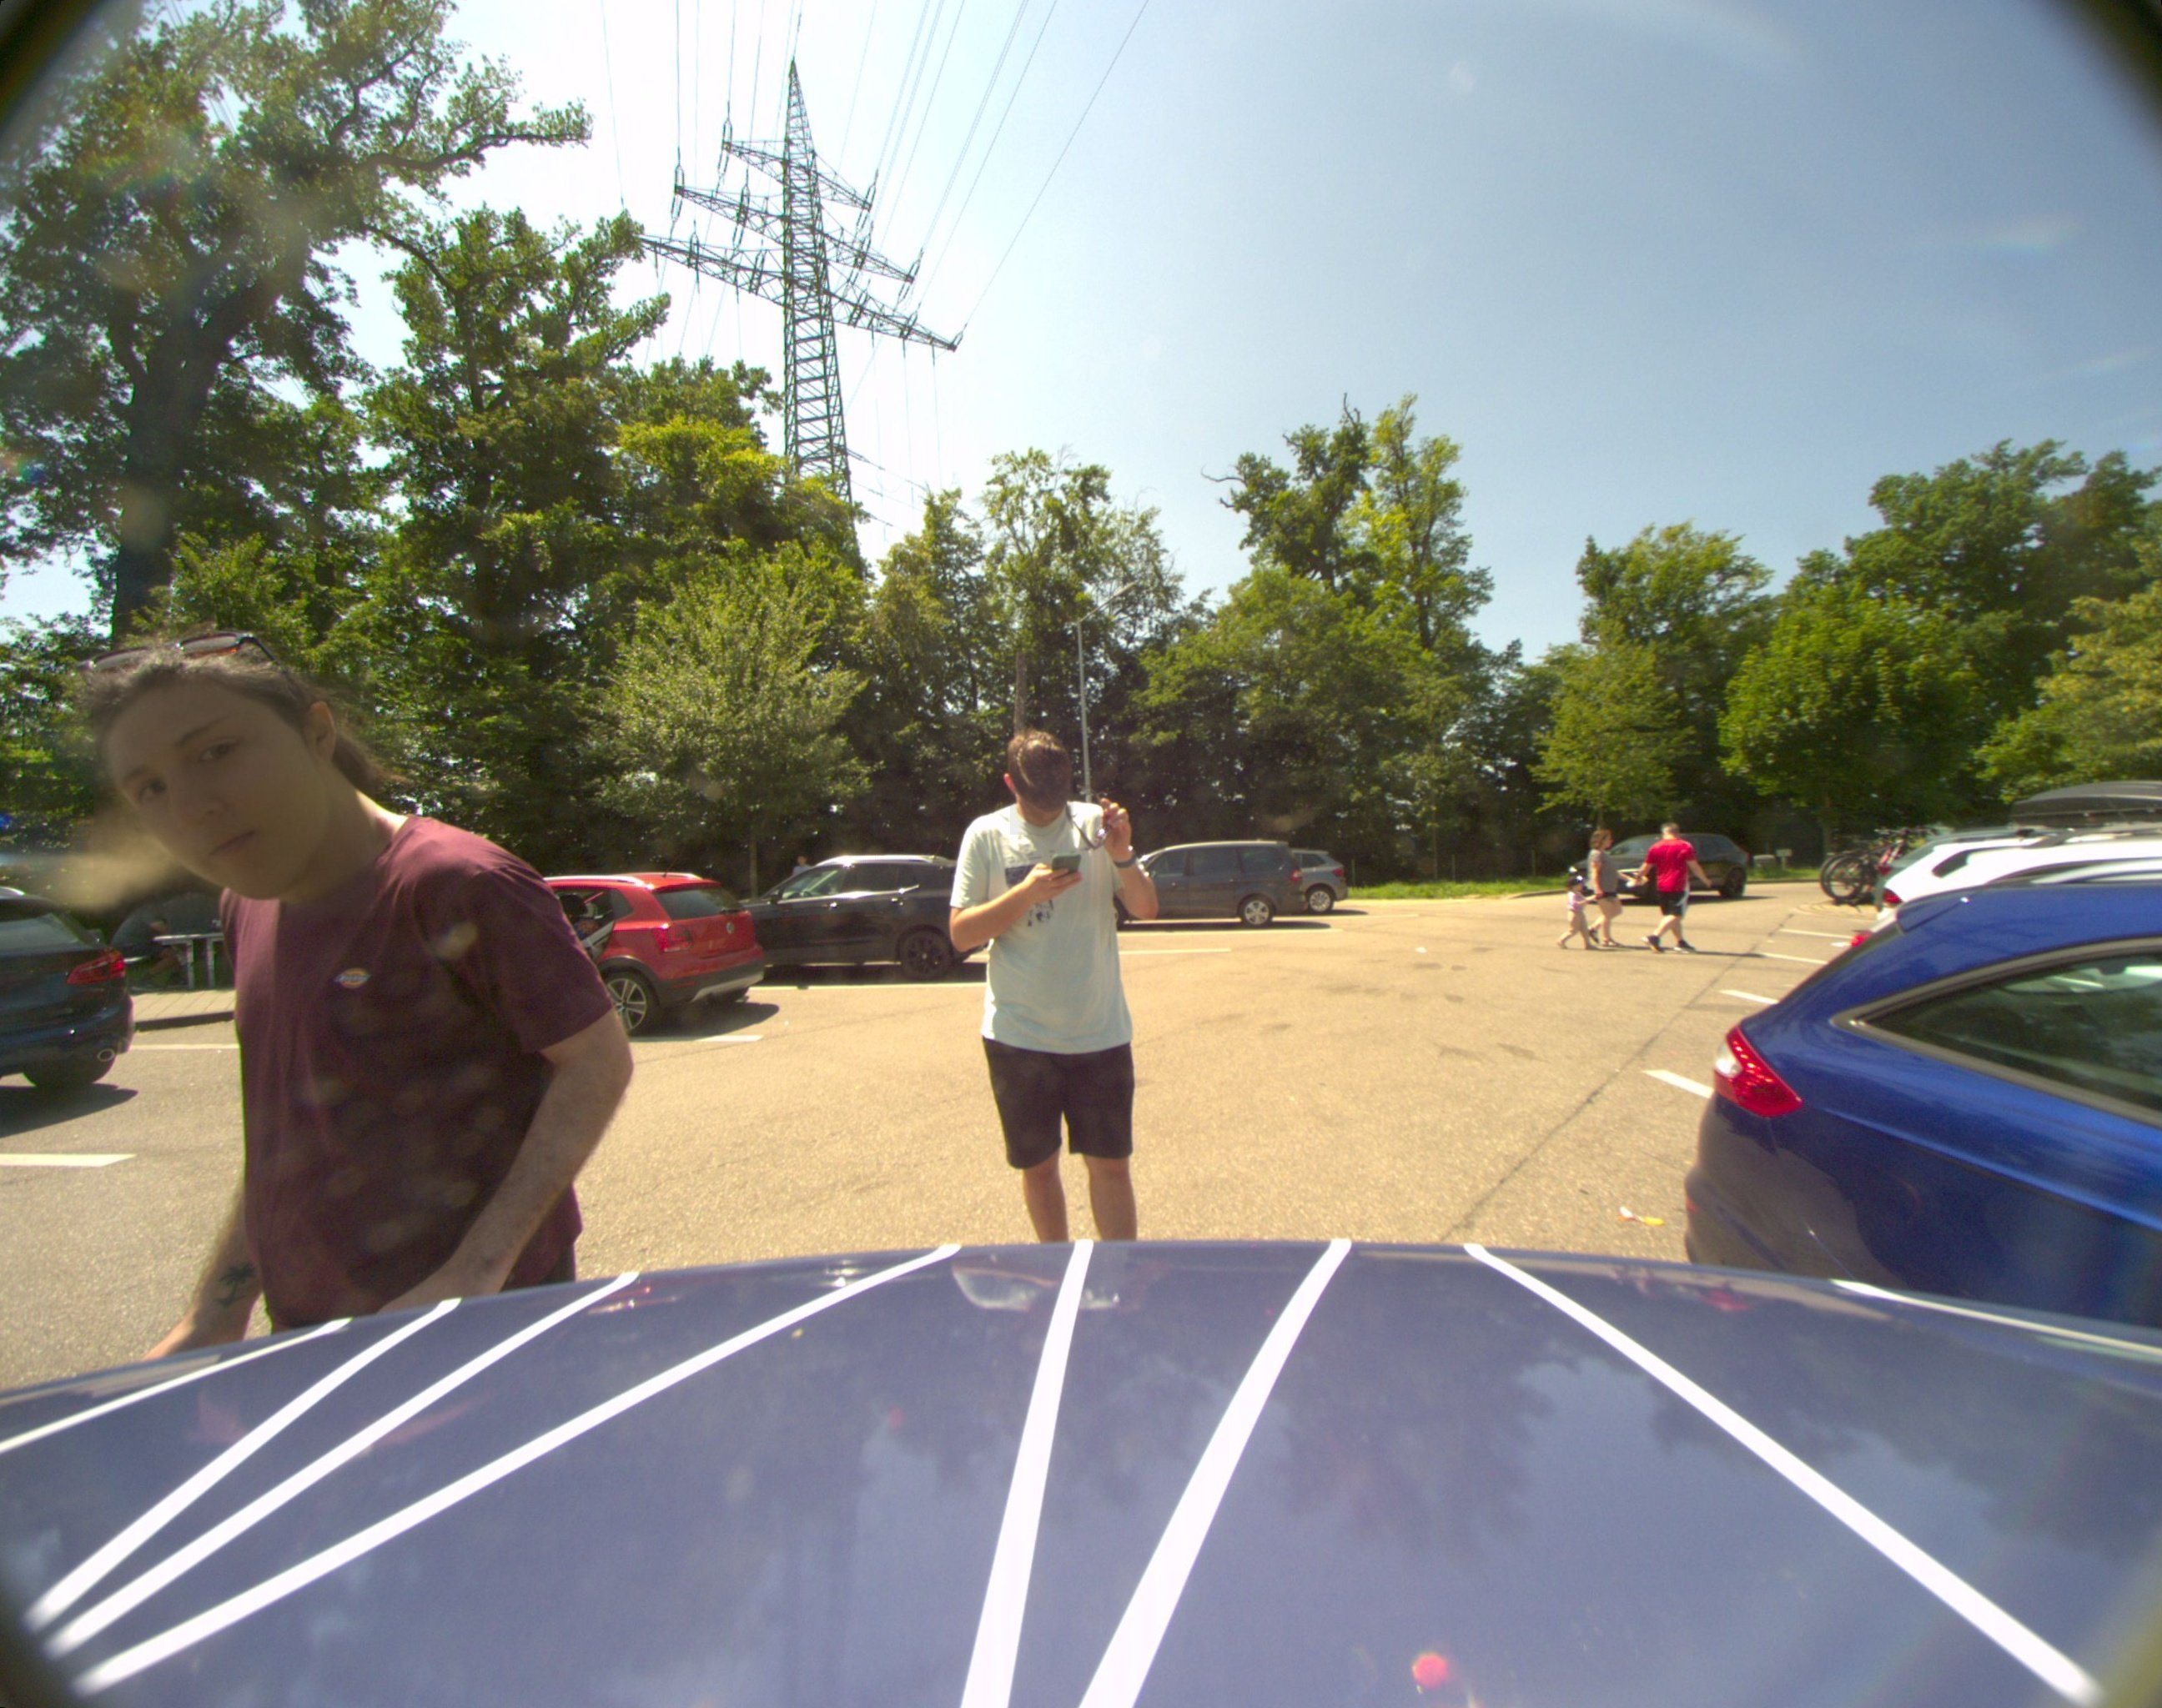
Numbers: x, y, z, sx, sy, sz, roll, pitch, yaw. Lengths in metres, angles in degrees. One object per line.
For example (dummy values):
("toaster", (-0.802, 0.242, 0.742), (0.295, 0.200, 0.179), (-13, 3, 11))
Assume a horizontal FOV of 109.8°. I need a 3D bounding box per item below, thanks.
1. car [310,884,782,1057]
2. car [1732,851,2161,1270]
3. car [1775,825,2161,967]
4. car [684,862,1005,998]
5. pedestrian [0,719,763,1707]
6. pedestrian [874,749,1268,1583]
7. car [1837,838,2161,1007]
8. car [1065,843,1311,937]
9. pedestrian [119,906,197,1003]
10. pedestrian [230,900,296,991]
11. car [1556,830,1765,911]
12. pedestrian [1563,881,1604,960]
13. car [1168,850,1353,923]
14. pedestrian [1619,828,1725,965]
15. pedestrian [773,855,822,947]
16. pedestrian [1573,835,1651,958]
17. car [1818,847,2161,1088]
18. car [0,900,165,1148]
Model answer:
("car", (-5.190, 1.096, 7.616), (3.730, 1.440, 1.591), (-2, 0, 7))
("car", (4.871, 0.743, 2.333), (1.776, 1.491, 4.495), (-3, -1, -1))
("car", (12.539, 0.475, 10.349), (1.777, 1.541, 4.493), (-3, -1, -5))
("car", (-3.034, 0.953, 10.293), (3.732, 1.578, 1.739), (-2, 0, 2))
("pedestrian", (-0.955, 0.827, 0.862), (0.866, 1.823, 0.859), (-3, 2, -40))
("pedestrian", (-0.034, 0.732, 2.145), (0.861, 1.940, 0.688), (-2, 1, -4))
("car", (10.108, 0.570, 6.878), (1.777, 1.418, 4.493), (-3, -1, -5))
("car", (2.138, 0.714, 15.450), (4.619, 1.701, 1.740), (-2, 0, 9))
("pedestrian", (-12.633, 1.348, 10.417), (0.695, 1.228, 0.588), (-3, 0, 43))
("pedestrian", (-11.952, 1.314, 11.106), (0.695, 1.228, 0.588), (-3, 0, 43))
("car", (14.154, 0.338, 18.553), (4.622, 1.703, 1.996), (-2, 1, -22))
("pedestrian", (6.925, 0.903, 10.480), (0.433, 1.038, 0.440), (-2, 1, 32))
("car", (4.142, 0.743, 17.988), (3.996, 1.495, 1.687), (-2, 1, 3))
("pedestrian", (7.771, 0.541, 10.016), (0.833, 1.722, 0.676), (-2, 0, -2))
("pedestrian", (-5.853, 0.954, 15.704), (0.767, 1.821, 0.519), (-3, 1, -35))
("pedestrian", (7.512, 0.573, 10.747), (0.831, 1.653, 0.677), (-2, 1, 39))
("car", (7.474, 0.674, 4.491), (1.776, 1.418, 4.495), (-3, -1, -1))
("car", (-8.886, 1.170, 4.971), (3.934, 1.534, 1.812), (-2, 0, 7))
